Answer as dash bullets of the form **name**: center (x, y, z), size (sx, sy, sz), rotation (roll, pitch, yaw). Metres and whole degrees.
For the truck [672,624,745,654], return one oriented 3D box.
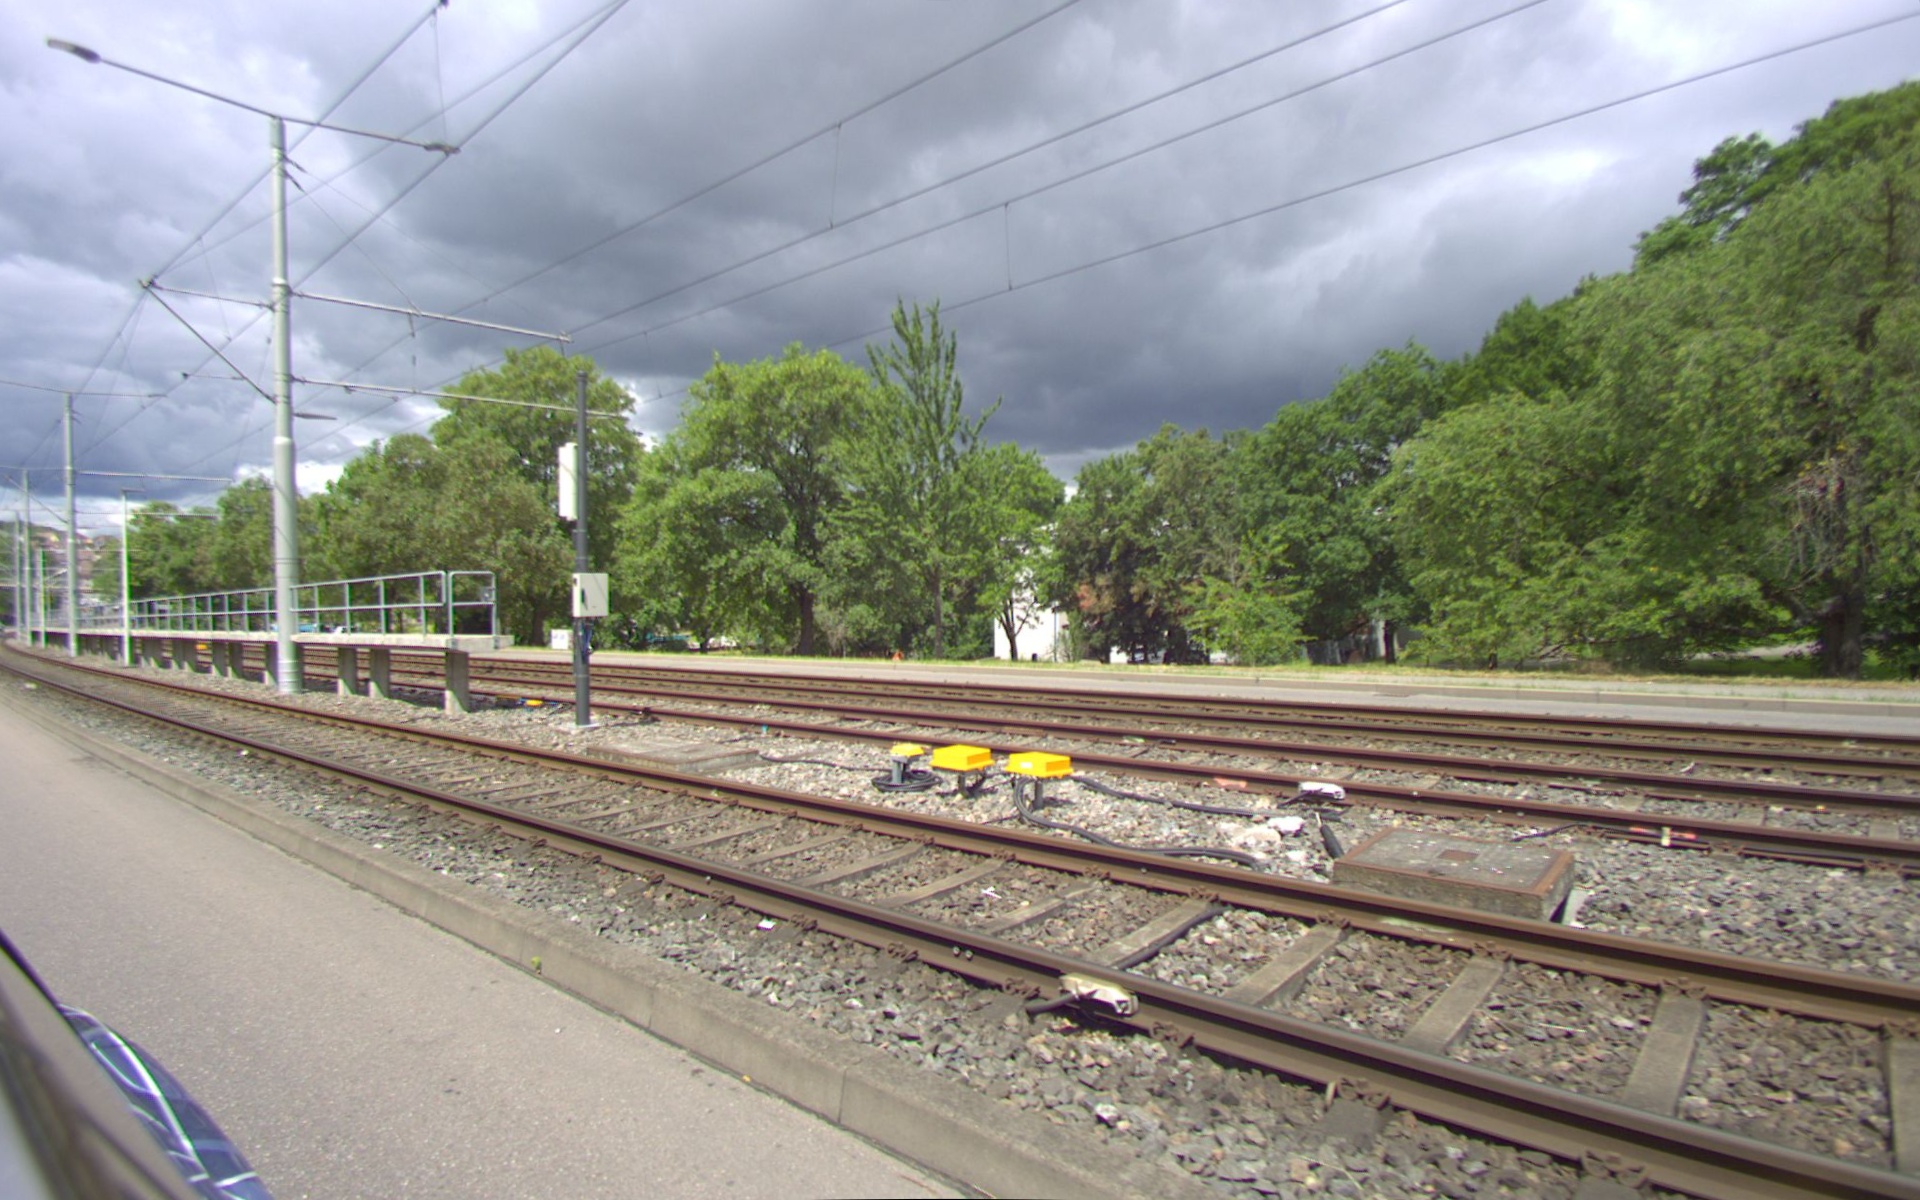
- **truck**: center (-24.891, 3.835, 100.481), size (6.524, 2.877, 2.682), rotation (2, -3, -43)
